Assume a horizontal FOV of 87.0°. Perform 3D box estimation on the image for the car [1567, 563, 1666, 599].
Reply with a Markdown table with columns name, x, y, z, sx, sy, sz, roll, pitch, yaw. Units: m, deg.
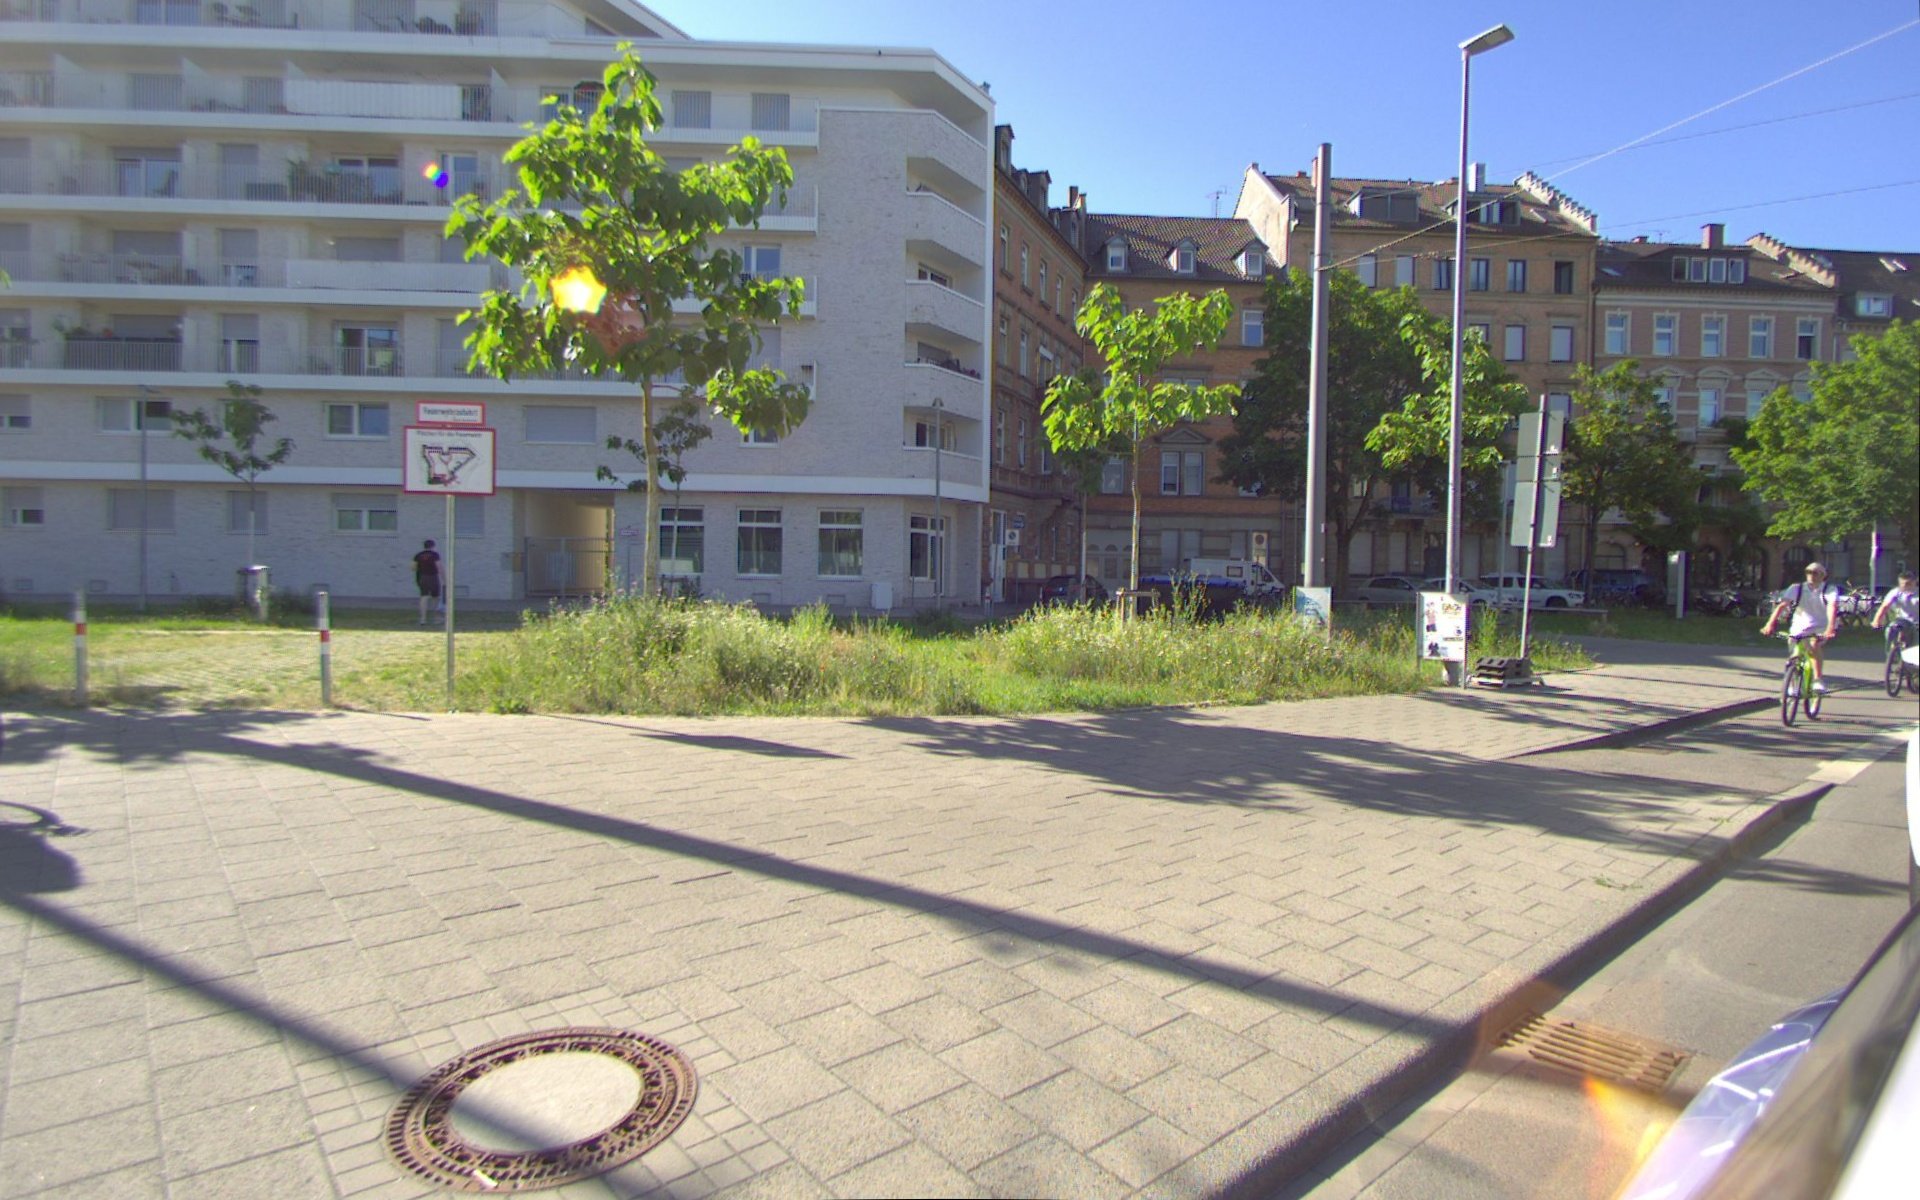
| name | x | y | z | sx | sy | sz | roll | pitch | yaw |
| --- | --- | --- | --- | --- | --- | --- | --- | --- | --- |
| car | 30.873 | -0.922 | 47.650 | 3.631 | 1.607 | 1.552 | 1 | 2 | 0 |

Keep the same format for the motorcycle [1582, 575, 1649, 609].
| name | x | y | z | sx | sy | sz | roll | pitch | yaw |
| --- | --- | --- | --- | --- | --- | --- | --- | --- | --- |
| motorcycle | 26.024 | -0.330 | 40.226 | 0.649 | 1.293 | 2.324 | 0 | 0 | -18 |

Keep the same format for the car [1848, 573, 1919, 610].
| name | x | y | z | sx | sy | sz | roll | pitch | yaw |
| --- | --- | --- | --- | --- | --- | --- | --- | --- | --- |
| car | 37.819 | -0.331 | 39.961 | 1.649 | 1.423 | 3.832 | -1 | 3 | -32 |

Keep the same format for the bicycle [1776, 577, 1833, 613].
| name | x | y | z | sx | sy | sz | roll | pitch | yaw |
| --- | --- | --- | --- | --- | --- | --- | --- | --- | --- |
| bicycle | 30.938 | -0.187 | 37.110 | 0.653 | 1.284 | 2.196 | 0 | 0 | 12 |

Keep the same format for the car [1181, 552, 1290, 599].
| name | x | y | z | sx | sy | sz | roll | pitch | yaw |
| --- | --- | --- | --- | --- | --- | --- | --- | --- | --- |
| car | 12.658 | -1.155 | 46.784 | 4.416 | 2.062 | 2.054 | 1 | 2 | 0 |

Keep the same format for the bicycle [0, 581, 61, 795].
| name | x | y | z | sx | sy | sz | roll | pitch | yaw |
| --- | --- | --- | --- | --- | --- | --- | --- | --- | --- |
| bicycle | -5.850 | 0.439 | 5.178 | 1.782 | 1.085 | 0.670 | 1 | 2 | -11 |

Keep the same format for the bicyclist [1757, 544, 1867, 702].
| name | x | y | z | sx | sy | sz | roll | pitch | yaw |
| --- | --- | --- | --- | --- | --- | --- | --- | --- | --- |
| bicyclist | 9.987 | 0.246 | 11.865 | 1.074 | 1.747 | 0.716 | 0 | 2 | -38 |

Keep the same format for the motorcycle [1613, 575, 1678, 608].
| name | x | y | z | sx | sy | sz | roll | pitch | yaw |
| --- | --- | --- | --- | --- | --- | --- | --- | --- | --- |
| motorcycle | 27.485 | -0.337 | 40.611 | 0.649 | 1.284 | 2.209 | 0 | 0 | -18 |

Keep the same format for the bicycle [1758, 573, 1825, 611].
| name | x | y | z | sx | sy | sz | roll | pitch | yaw |
| --- | --- | --- | --- | --- | --- | --- | --- | --- | --- |
| bicycle | 29.271 | -0.294 | 35.673 | 0.651 | 1.284 | 2.202 | 0 | 0 | 4 |

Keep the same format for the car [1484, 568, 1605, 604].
| name | x | y | z | sx | sy | sz | roll | pitch | yaw |
| --- | --- | --- | --- | --- | --- | --- | --- | --- | --- |
| car | 22.326 | -0.580 | 38.774 | 1.513 | 1.267 | 3.700 | -1 | 3 | -39 |

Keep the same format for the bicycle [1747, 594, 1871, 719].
| name | x | y | z | sx | sy | sz | roll | pitch | yaw |
| --- | --- | --- | --- | --- | --- | --- | --- | --- | --- |
| bicycle | 9.975 | 0.618 | 11.880 | 1.717 | 1.343 | 0.716 | 0 | 2 | -38 |

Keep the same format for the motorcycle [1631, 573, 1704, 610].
| name | x | y | z | sx | sy | sz | roll | pitch | yaw |
| --- | --- | --- | --- | --- | --- | --- | --- | --- | --- |
| motorcycle | 26.151 | -0.323 | 37.469 | 0.649 | 1.339 | 2.208 | 0 | 0 | -23 |

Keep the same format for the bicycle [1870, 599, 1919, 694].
| name | x | y | z | sx | sy | sz | roll | pitch | yaw |
| --- | --- | --- | --- | --- | --- | --- | --- | --- | --- |
| bicycle | 14.479 | 0.669 | 15.202 | 2.114 | 1.317 | 0.759 | -1 | 2 | -36 |

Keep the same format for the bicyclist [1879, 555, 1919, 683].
| name | x | y | z | sx | sy | sz | roll | pitch | yaw |
| --- | --- | --- | --- | --- | --- | --- | --- | --- | --- |
| bicyclist | 14.409 | 0.265 | 15.146 | 0.735 | 1.889 | 0.810 | -1 | 2 | -35 |

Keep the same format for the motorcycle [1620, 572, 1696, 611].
| name | x | y | z | sx | sy | sz | roll | pitch | yaw |
| --- | --- | --- | --- | --- | --- | --- | --- | --- | --- |
| motorcycle | 25.335 | -0.308 | 36.780 | 0.650 | 1.347 | 2.207 | 0 | 0 | -28 |

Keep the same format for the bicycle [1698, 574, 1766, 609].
| name | x | y | z | sx | sy | sz | roll | pitch | yaw |
| --- | --- | --- | --- | --- | --- | --- | --- | --- | --- |
| bicycle | 29.078 | -0.322 | 38.152 | 0.649 | 1.284 | 2.208 | 0 | 0 | -9 |

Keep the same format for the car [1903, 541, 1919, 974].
| name | x | y | z | sx | sy | sz | roll | pitch | yaw |
| --- | --- | --- | --- | --- | --- | --- | --- | --- | --- |
| car | 5.865 | 0.605 | 4.717 | 4.323 | 1.667 | 1.840 | 0 | 0 | -43 |

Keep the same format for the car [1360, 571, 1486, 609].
| name | x | y | z | sx | sy | sz | roll | pitch | yaw |
| --- | --- | --- | --- | --- | --- | --- | --- | --- | --- |
| car | 17.346 | -0.423 | 38.108 | 1.648 | 1.267 | 4.170 | 0 | 3 | -28 |

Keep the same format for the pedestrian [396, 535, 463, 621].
| name | x | y | z | sx | sy | sz | roll | pitch | yaw |
| --- | --- | --- | --- | --- | --- | --- | --- | --- | --- |
| pedestrian | -10.956 | -0.462 | 20.919 | 0.829 | 1.717 | 0.985 | 2 | 2 | 2 |

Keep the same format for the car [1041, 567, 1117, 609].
| name | x | y | z | sx | sy | sz | roll | pitch | yaw |
| --- | --- | --- | --- | --- | --- | --- | --- | --- | --- |
| car | 4.563 | -0.506 | 38.299 | 1.811 | 1.444 | 4.359 | 1 | 2 | 21 |

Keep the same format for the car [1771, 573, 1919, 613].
| name | x | y | z | sx | sy | sz | roll | pitch | yaw |
| --- | --- | --- | --- | --- | --- | --- | --- | --- | --- |
| car | 34.683 | -0.323 | 39.592 | 1.651 | 1.423 | 4.324 | -1 | 3 | -38 |

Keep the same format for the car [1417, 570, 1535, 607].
| name | x | y | z | sx | sy | sz | roll | pitch | yaw |
| --- | --- | --- | --- | --- | --- | --- | --- | --- | --- |
| car | 19.669 | -0.469 | 38.718 | 1.648 | 1.267 | 3.709 | 0 | 3 | -28 |

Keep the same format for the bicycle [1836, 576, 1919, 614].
| name | x | y | z | sx | sy | sz | roll | pitch | yaw |
| --- | --- | --- | --- | --- | --- | --- | --- | --- | --- |
| bicycle | 31.626 | -0.168 | 34.763 | 2.180 | 1.284 | 0.657 | 0 | 0 | 25 |

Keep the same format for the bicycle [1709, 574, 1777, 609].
| name | x | y | z | sx | sy | sz | roll | pitch | yaw |
| --- | --- | --- | --- | --- | --- | --- | --- | --- | --- |
| bicycle | 29.721 | -0.328 | 38.463 | 0.649 | 1.284 | 2.208 | 0 | 0 | -9 |

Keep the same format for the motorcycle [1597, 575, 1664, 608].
| name | x | y | z | sx | sy | sz | roll | pitch | yaw |
| --- | --- | --- | --- | --- | --- | --- | --- | --- | --- |
| motorcycle | 26.694 | -0.338 | 40.357 | 0.649 | 1.300 | 2.324 | 0 | 0 | -18 |

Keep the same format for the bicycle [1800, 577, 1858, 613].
| name | x | y | z | sx | sy | sz | roll | pitch | yaw |
| --- | --- | --- | --- | --- | --- | --- | --- | --- | --- |
| bicycle | 32.032 | -0.195 | 37.334 | 0.653 | 1.284 | 2.196 | 0 | 0 | 12 |

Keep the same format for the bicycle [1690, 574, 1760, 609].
| name | x | y | z | sx | sy | sz | roll | pitch | yaw |
| --- | --- | --- | --- | --- | --- | --- | --- | --- | --- |
| bicycle | 28.367 | -0.312 | 37.565 | 0.649 | 1.284 | 2.208 | 0 | 0 | -11 |
